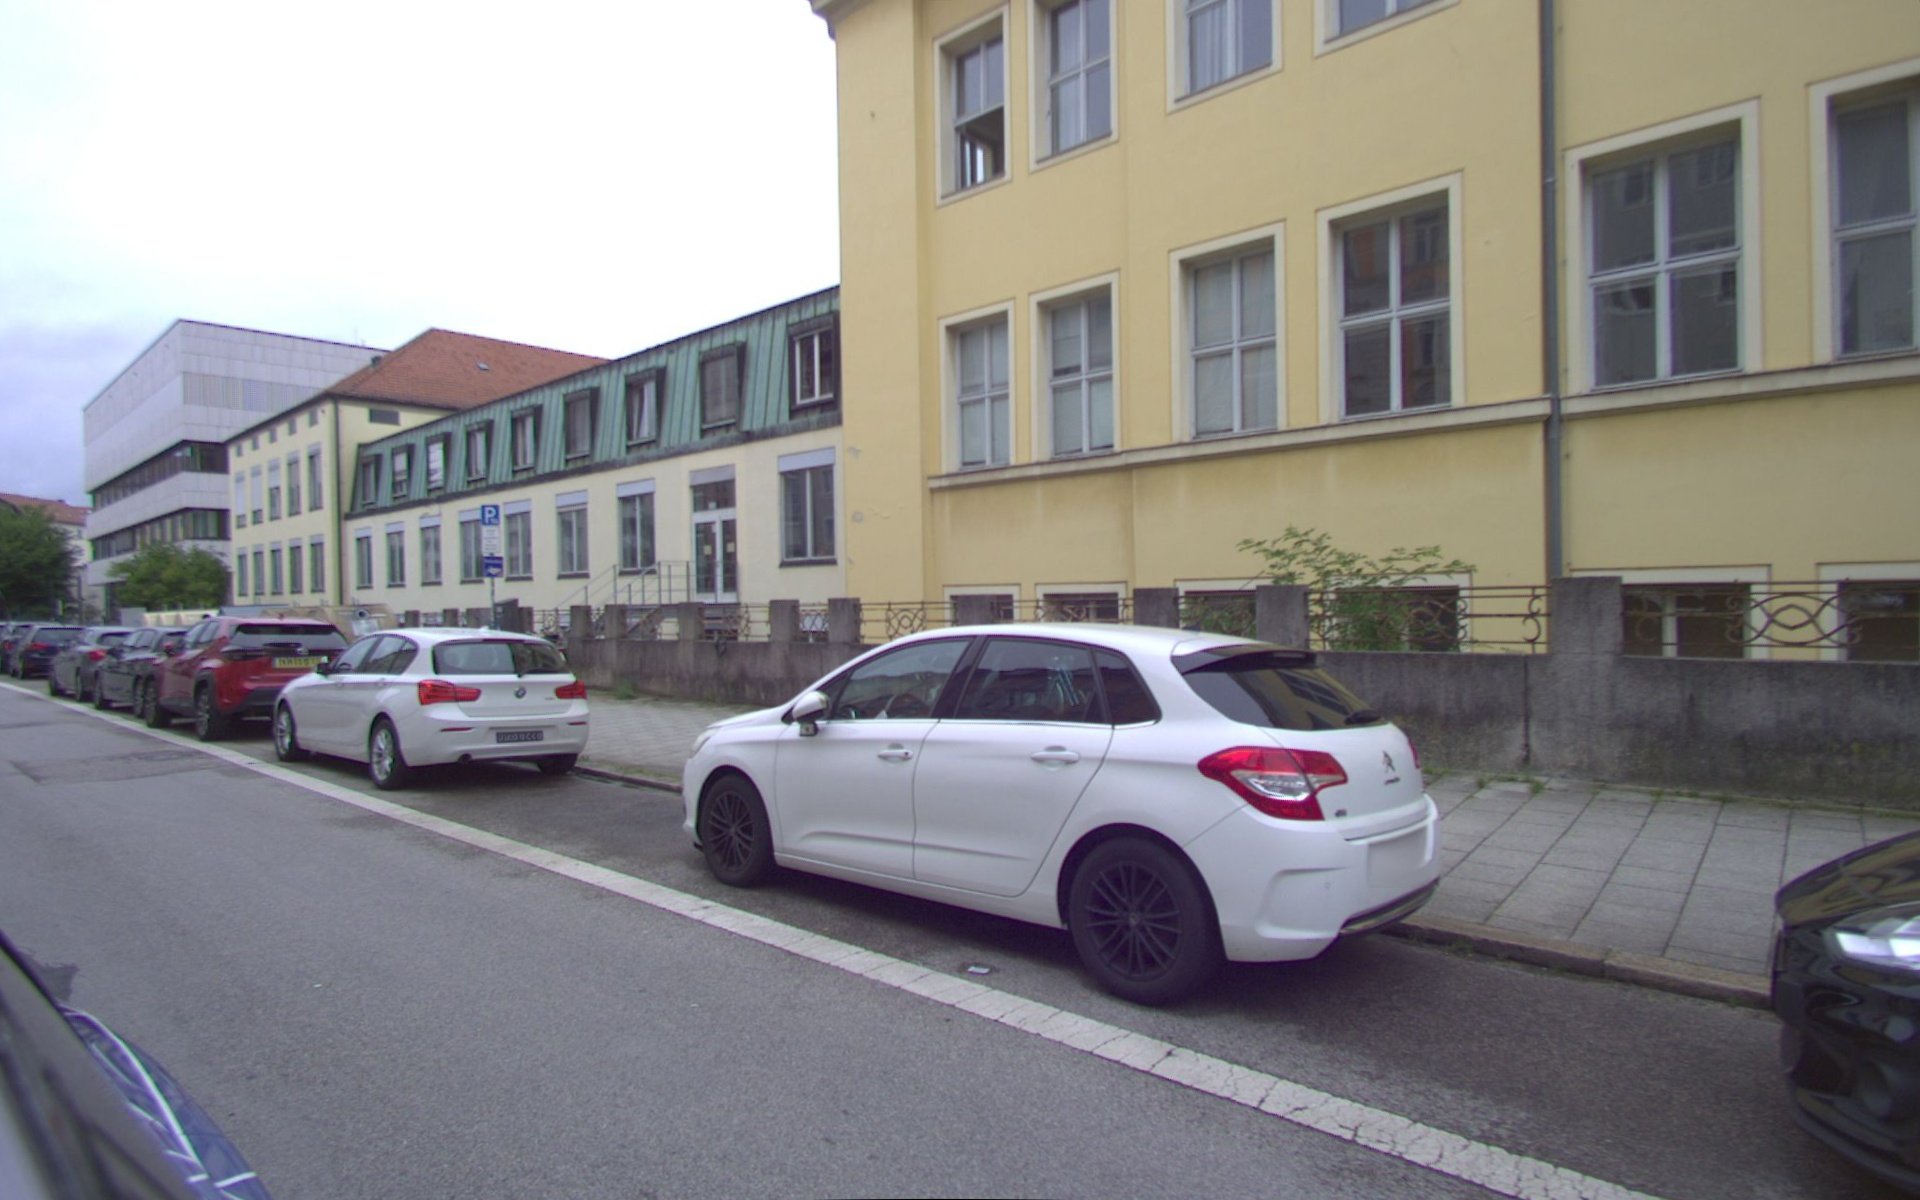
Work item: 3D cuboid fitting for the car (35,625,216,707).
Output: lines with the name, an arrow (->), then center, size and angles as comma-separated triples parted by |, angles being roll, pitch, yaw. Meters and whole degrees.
car -> -16.979, 1.253, 20.516 | 4.612, 1.429, 1.994 | 0, -2, 40

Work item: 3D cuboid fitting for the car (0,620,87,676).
car -> -28.489, 1.490, 30.979 | 4.347, 1.599, 1.894 | -2, -4, 39

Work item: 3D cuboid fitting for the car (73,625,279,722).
car -> -13.294, 1.153, 17.079 | 4.349, 1.416, 1.732 | -1, -3, 38

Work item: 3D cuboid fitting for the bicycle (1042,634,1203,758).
bicycle -> 1.577, 0.907, 10.049 | 0.530, 1.070, 1.643 | -2, 1, -38

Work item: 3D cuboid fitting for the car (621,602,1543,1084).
car -> 0.240, 0.772, 5.335 | 4.651, 1.442, 1.766 | -1, 1, 42

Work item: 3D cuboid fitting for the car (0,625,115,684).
car -> -24.896, 1.454, 27.855 | 4.531, 1.493, 1.893 | -2, -3, 42

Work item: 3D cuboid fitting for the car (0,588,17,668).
car -> -37.423, 1.010, 37.526 | 6.180, 2.875, 2.194 | -1, -2, 34

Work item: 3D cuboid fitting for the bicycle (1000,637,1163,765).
bicycle -> 1.132, 0.921, 9.742 | 0.530, 1.070, 1.643 | -2, 1, -38

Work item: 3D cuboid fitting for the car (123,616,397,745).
car -> -9.784, 0.991, 14.022 | 4.525, 1.493, 1.938 | -1, -2, 39

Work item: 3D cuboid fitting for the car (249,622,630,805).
car -> -5.459, 0.980, 10.326 | 4.661, 1.440, 1.775 | -1, -3, 40

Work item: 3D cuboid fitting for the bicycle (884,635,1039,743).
bicycle -> -0.001, 0.933, 11.022 | 1.635, 1.070, 0.569 | -1, 1, 34

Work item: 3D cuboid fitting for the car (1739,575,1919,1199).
car -> 3.891, 0.725, 1.567 | 4.148, 1.508, 1.681 | -1, -3, 42

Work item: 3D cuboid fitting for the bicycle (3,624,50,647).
bicycle -> -50.872, 1.948, 55.150 | 0.519, 1.160, 1.793 | -1, 1, 39

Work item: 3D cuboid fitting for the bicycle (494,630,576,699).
bicycle -> -7.867, 1.159, 18.681 | 2.105, 1.194, 0.529 | -1, 0, 42

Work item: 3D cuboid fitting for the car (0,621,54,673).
car -> -31.971, 1.552, 33.835 | 4.345, 1.649, 1.861 | -1, -3, 40
